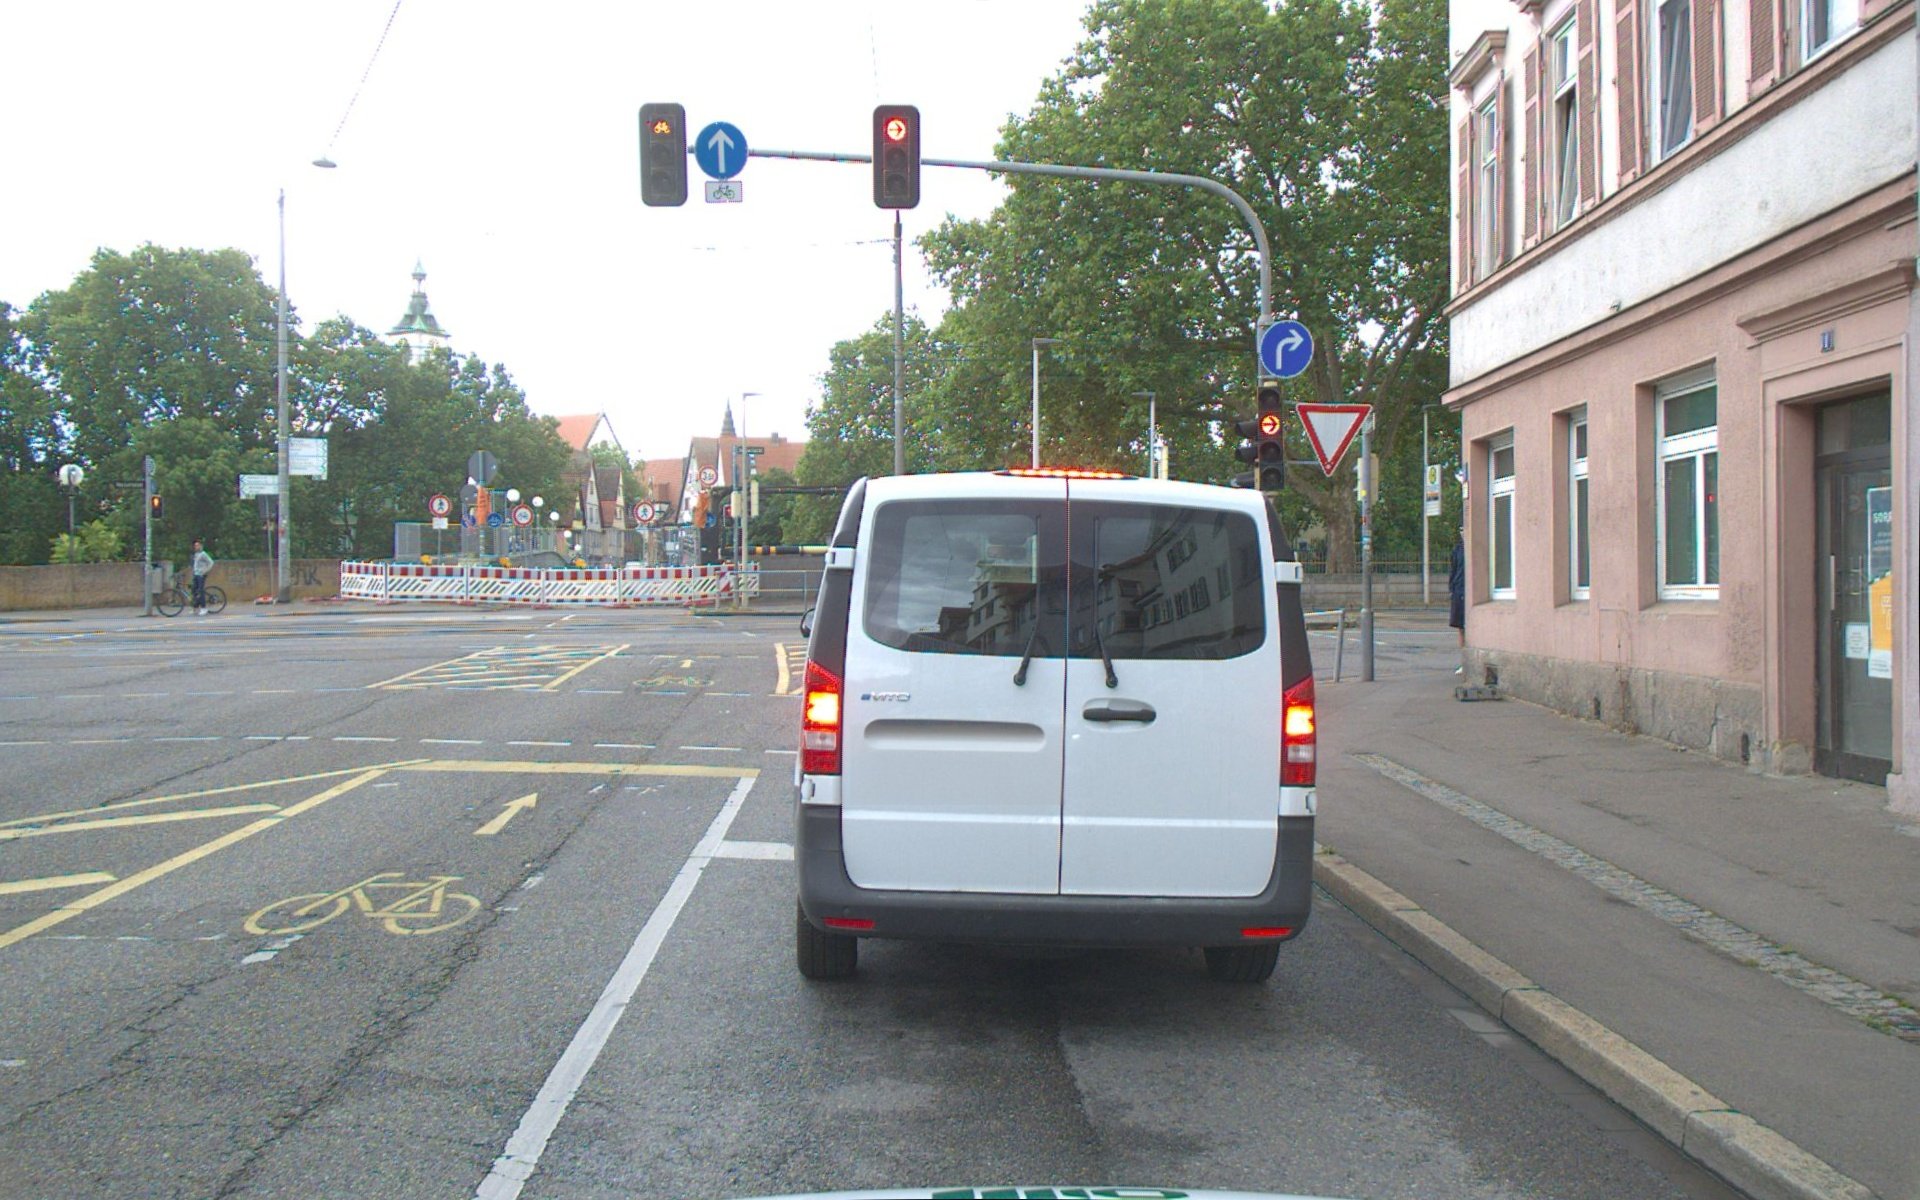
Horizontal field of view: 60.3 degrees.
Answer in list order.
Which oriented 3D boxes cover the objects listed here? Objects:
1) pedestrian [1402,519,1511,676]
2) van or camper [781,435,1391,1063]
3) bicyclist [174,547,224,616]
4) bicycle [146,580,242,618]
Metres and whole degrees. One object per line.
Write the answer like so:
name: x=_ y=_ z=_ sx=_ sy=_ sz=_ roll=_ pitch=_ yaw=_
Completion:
pedestrian: x=6.180 y=-0.051 z=20.592 sx=1.138 sy=1.888 sz=0.672 roll=-2 pitch=1 yaw=-30
van or camper: x=0.262 y=0.402 z=7.422 sx=1.899 sy=1.958 sz=4.438 roll=1 pitch=2 yaw=-4
bicyclist: x=-19.619 y=-0.484 z=42.649 sx=0.996 sy=1.774 sz=0.743 roll=-1 pitch=1 yaw=-42
bicycle: x=-19.712 y=-0.032 z=42.588 sx=2.120 sy=0.907 sz=0.749 roll=-1 pitch=2 yaw=-42
